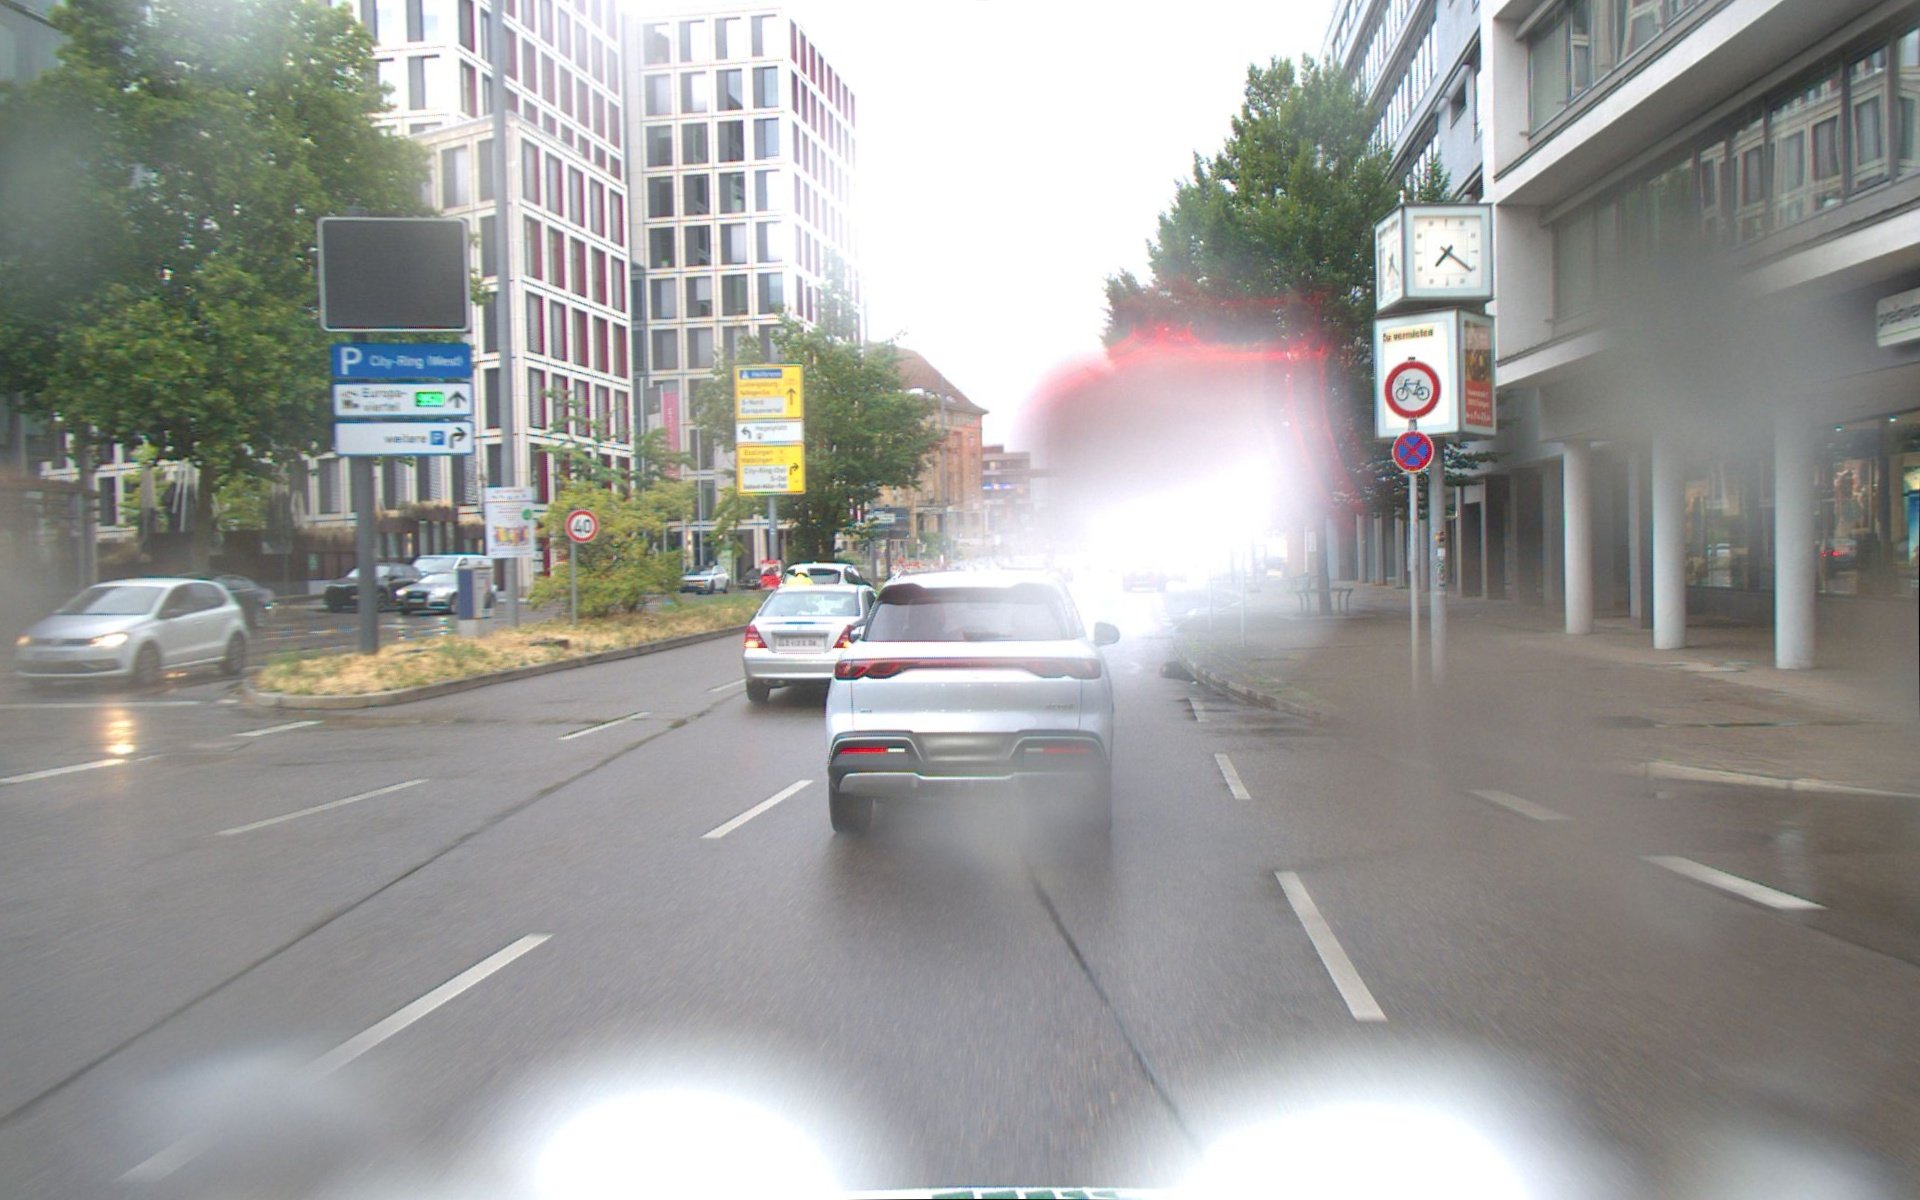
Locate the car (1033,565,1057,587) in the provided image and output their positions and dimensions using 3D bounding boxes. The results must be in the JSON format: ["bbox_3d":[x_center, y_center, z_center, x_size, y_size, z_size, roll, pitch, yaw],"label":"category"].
[{"bbox_3d":[6.773,-1.876,131.667,1.848,1.671,4.002,0,0,3],"label":"car"}]

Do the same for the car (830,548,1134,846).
[{"bbox_3d":[0.240,0.567,11.508,1.739,1.708,4.002,0,0,3],"label":"car"}]

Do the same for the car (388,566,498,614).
[{"bbox_3d":[-17.218,-0.362,55.312,1.951,1.514,4.004,-1,1,8],"label":"car"}]

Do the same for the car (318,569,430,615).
[{"bbox_3d":[-20.124,-0.304,56.981,1.951,1.514,4.004,-1,1,8],"label":"car"}]

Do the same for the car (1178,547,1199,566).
[{"bbox_3d":[26.879,-5.109,194.492,1.952,2.049,4.000,0,-1,1],"label":"car"}]

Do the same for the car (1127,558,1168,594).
[{"bbox_3d":[8.583,-1.068,75.461,1.657,1.512,4.003,0,-1,10],"label":"car"}]

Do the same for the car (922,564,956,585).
[{"bbox_3d":[-1.590,-1.965,126.127,1.951,1.512,4.004,-1,1,9],"label":"car"}]

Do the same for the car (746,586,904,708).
[{"bbox_3d":[-1.675,0.579,21.693,1.538,1.432,4.110,0,-1,3],"label":"car"}]

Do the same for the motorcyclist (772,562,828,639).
[{"bbox_3d":[-2.973,0.019,30.848,0.753,1.404,1.119,0,-1,11],"label":"motorcyclist"}]

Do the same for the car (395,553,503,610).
[{"bbox_3d":[-19.316,-0.709,62.811,1.951,2.046,4.932,-1,1,8],"label":"car"}]

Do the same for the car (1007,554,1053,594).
[{"bbox_3d":[2.860,-1.029,66.521,1.537,1.512,4.003,0,-1,7],"label":"car"}]

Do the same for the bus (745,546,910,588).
[{"bbox_3d":[-13.827,-3.423,173.329,16.602,4.134,4.441,0,-1,7],"label":"bus"}]

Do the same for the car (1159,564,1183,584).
[{"bbox_3d":[17.125,-2.062,134.010,1.657,1.512,4.003,0,-1,11],"label":"car"}]

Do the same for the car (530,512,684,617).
[{"bbox_3d":[-7.362,-0.672,35.009,1.952,2.049,4.851,0,-1,4],"label":"car"}]

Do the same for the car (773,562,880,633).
[{"bbox_3d":[-2.954,-0.032,37.327,1.670,1.512,4.003,0,-1,7],"label":"car"}]

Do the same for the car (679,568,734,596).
[{"bbox_3d":[-14.298,-1.025,93.307,1.951,1.514,4.004,-1,1,8],"label":"car"}]

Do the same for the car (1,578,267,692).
[{"bbox_3d":[-11.691,0.439,23.719,1.597,1.462,3.910,-1,1,4],"label":"car"}]
